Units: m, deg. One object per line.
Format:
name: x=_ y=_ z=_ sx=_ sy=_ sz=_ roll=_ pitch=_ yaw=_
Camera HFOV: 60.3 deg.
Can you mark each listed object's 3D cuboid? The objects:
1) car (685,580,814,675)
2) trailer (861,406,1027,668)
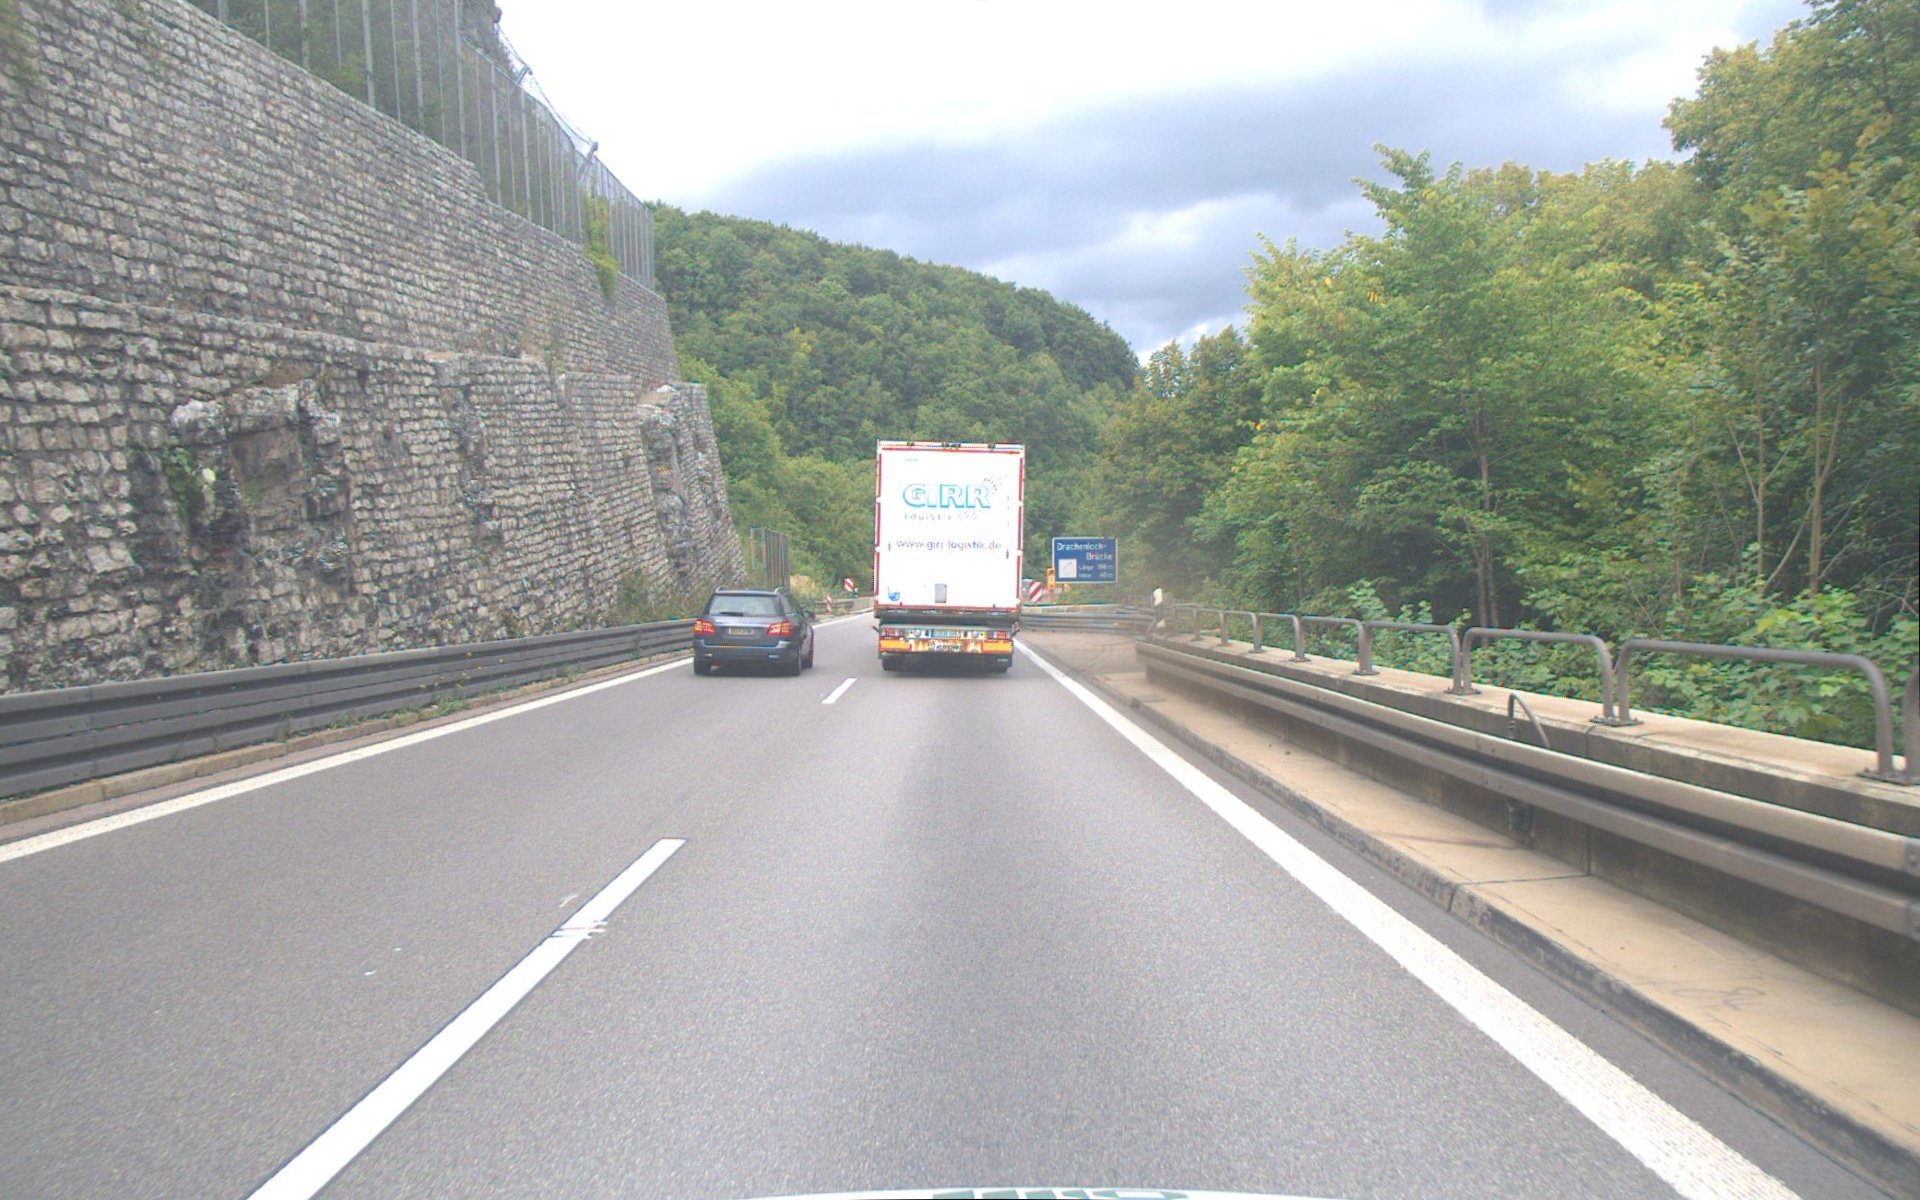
car: x=-3.653 y=0.462 z=29.387 sx=1.845 sy=1.536 sz=4.417 roll=0 pitch=0 yaw=-2
trailer: x=-0.363 y=-1.037 z=33.892 sx=2.756 sy=4.378 sz=12.242 roll=0 pitch=0 yaw=-1
